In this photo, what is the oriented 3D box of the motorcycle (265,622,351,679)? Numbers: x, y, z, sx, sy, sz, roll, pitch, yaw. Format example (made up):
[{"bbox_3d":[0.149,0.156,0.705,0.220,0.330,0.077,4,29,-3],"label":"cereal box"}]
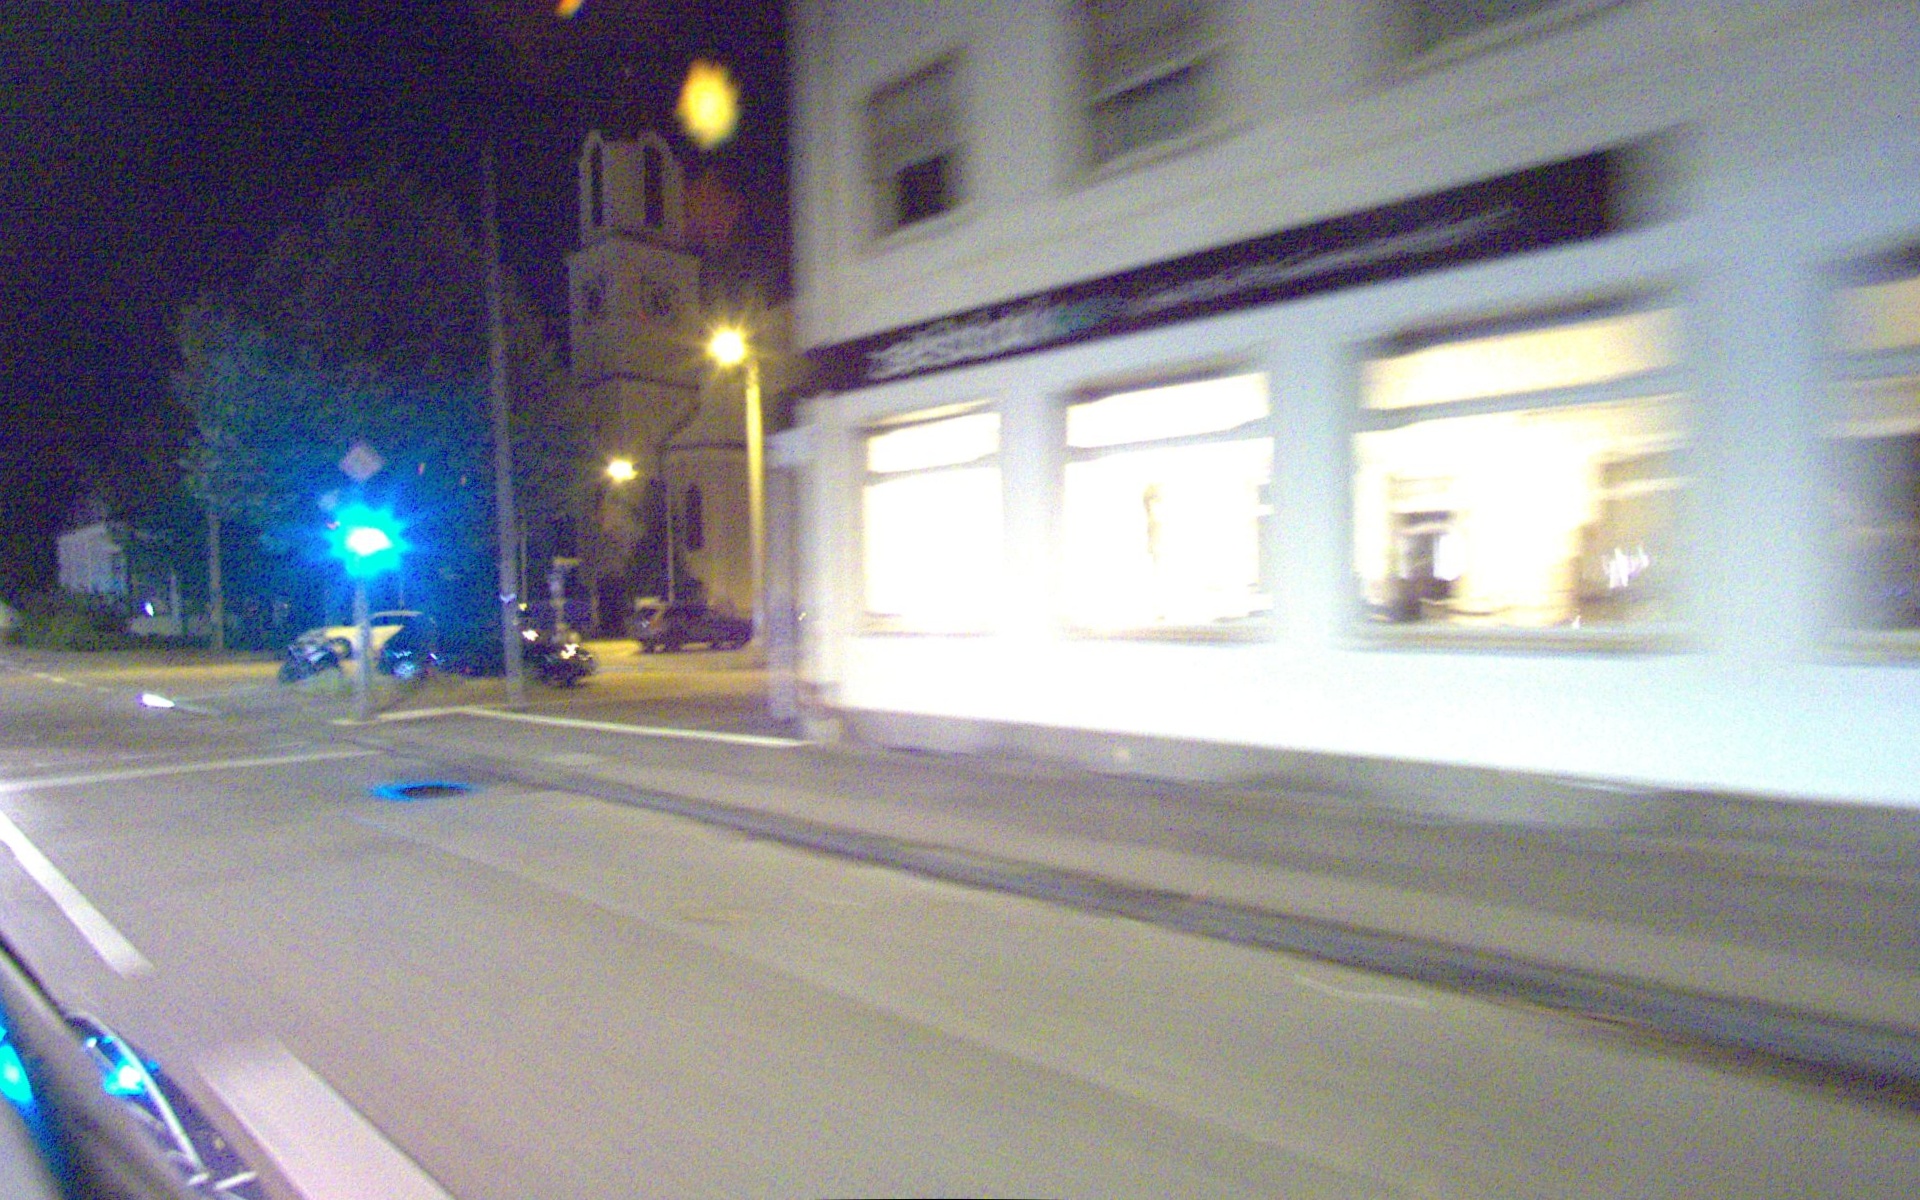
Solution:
[{"bbox_3d":[-14.398,1.103,22.327,2.020,1.188,0.569,-1,0,24],"label":"motorcycle"}]

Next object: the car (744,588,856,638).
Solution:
[{"bbox_3d":[-6.562,0.476,41.720,1.961,1.767,4.293,4,4,42],"label":"car"}]

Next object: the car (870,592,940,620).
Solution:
[{"bbox_3d":[-3.230,0.338,59.497,1.828,1.517,3.945,-2,0,42],"label":"car"}]

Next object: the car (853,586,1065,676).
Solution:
[{"bbox_3d":[0.033,0.625,20.954,4.070,1.656,1.913,-1,3,13],"label":"car"}]

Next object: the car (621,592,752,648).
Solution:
[{"bbox_3d":[-10.063,0.682,37.417,1.957,1.767,4.292,1,3,43],"label":"car"}]

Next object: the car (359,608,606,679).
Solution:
[{"bbox_3d":[-10.357,0.934,22.094,4.677,1.435,1.887,-1,0,10],"label":"car"}]

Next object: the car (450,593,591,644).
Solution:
[{"bbox_3d":[-18.066,0.741,41.809,2.026,1.904,4.939,-2,0,39],"label":"car"}]

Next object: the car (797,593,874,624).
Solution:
[{"bbox_3d":[-6.782,0.467,55.285,1.901,1.517,3.948,-2,0,39],"label":"car"}]

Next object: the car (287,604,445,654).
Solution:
[{"bbox_3d":[-21.676,1.017,37.088,2.001,1.641,4.614,0,1,39],"label":"car"}]
